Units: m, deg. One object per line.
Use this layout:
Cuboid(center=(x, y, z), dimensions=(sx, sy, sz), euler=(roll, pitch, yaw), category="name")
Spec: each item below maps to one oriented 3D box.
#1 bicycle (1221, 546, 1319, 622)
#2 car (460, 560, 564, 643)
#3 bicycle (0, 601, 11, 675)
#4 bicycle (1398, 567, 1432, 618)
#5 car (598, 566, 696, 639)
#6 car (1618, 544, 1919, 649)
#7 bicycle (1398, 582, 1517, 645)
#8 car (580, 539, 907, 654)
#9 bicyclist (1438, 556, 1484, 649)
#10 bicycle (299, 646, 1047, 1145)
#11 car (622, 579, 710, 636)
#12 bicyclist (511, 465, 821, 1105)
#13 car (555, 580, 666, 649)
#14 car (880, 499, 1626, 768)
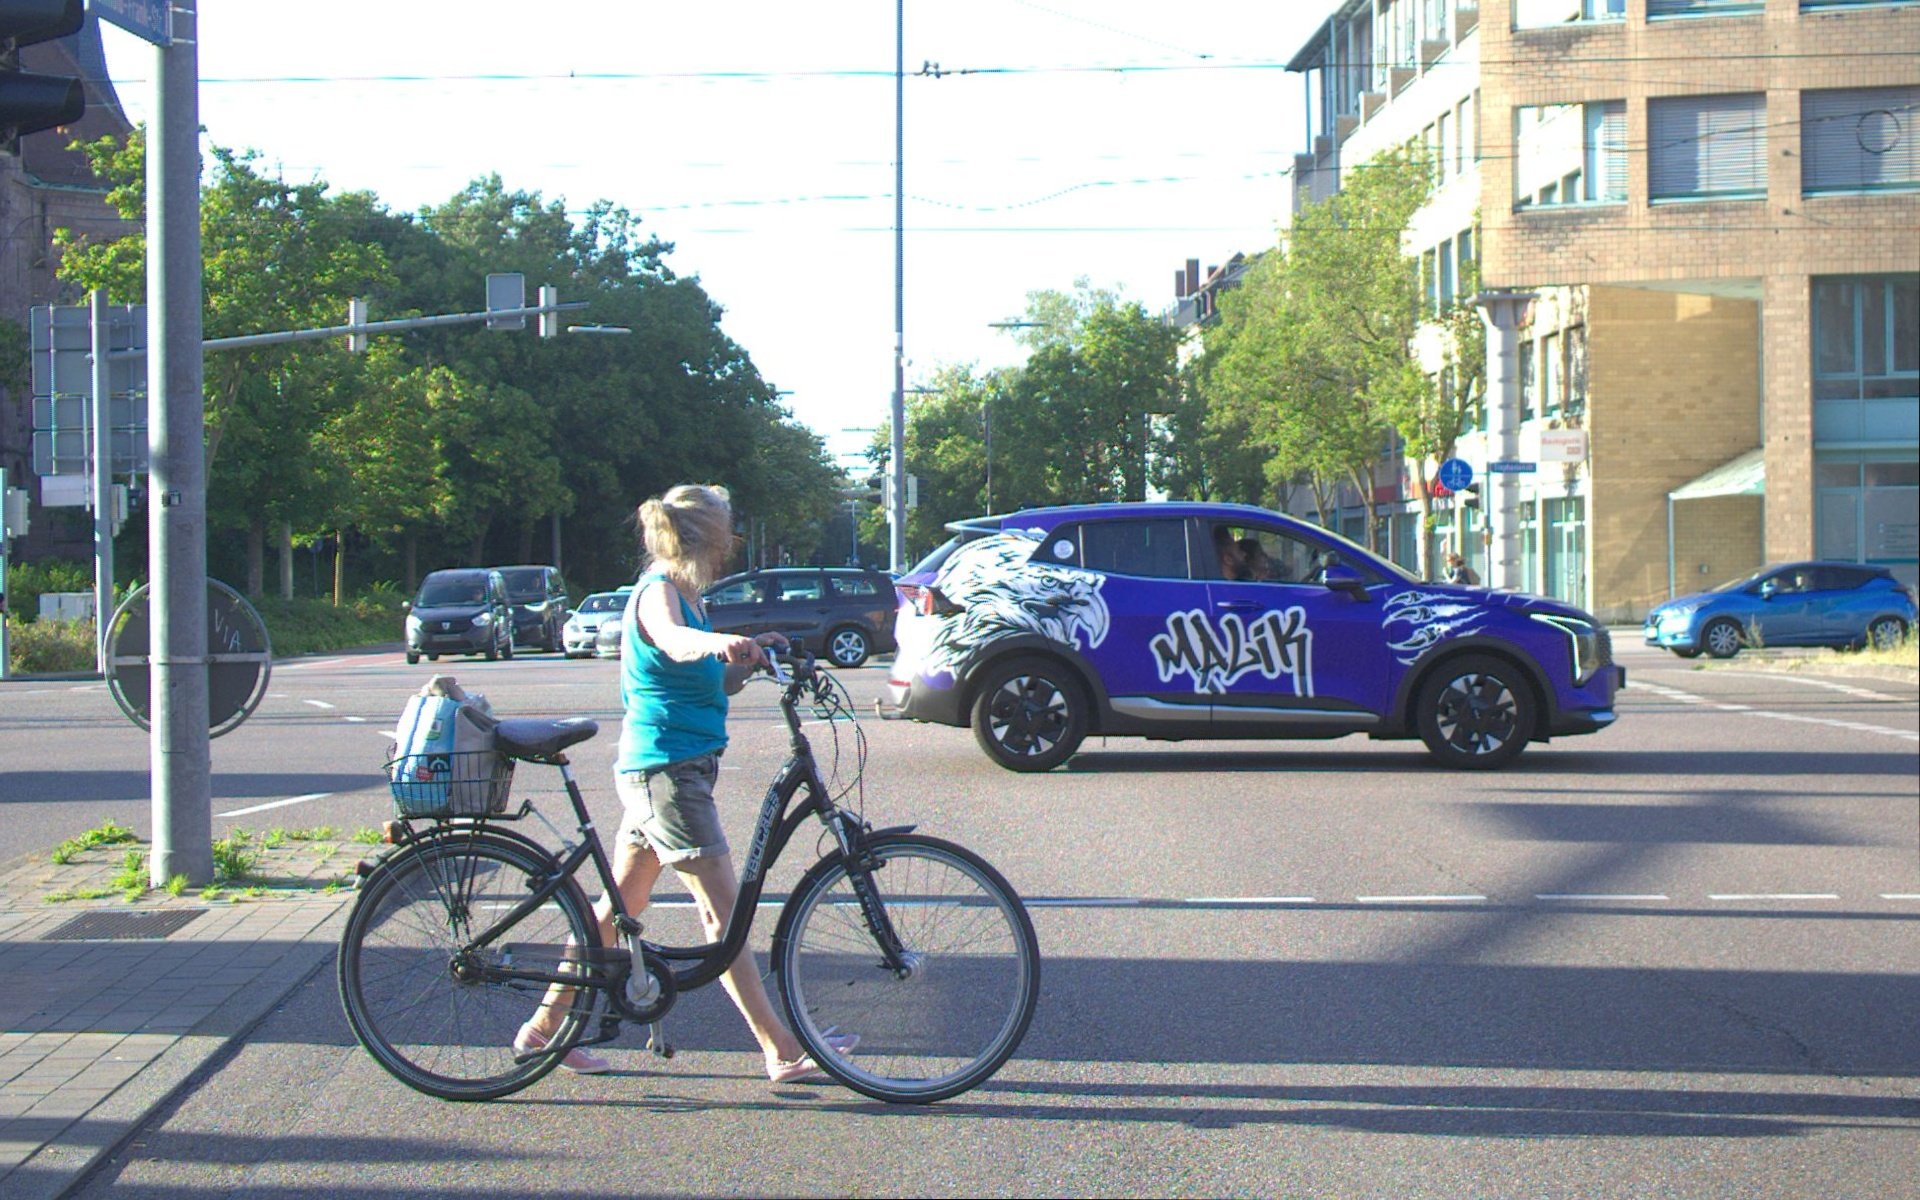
Cuboid(center=(4.853, -0.255, 53.810), dimensions=(1.520, 1.168, 0.475), euler=(-1, 1, 6), category="bicycle")
Cuboid(center=(-9.648, 0.005, 74.338), dimensions=(1.780, 1.698, 4.000), euler=(0, 1, -1), category="car")
Cuboid(center=(-15.589, 0.594, 54.165), dimensions=(0.645, 1.135, 1.679), euler=(-1, 1, -37), category="bicycle")
Cuboid(center=(11.174, -0.196, 84.411), dimensions=(0.773, 1.191, 2.464), euler=(-1, 1, 6), category="bicycle")
Cuboid(center=(-6.614, 0.036, 73.019), dimensions=(1.780, 1.459, 4.000), euler=(0, 1, -1), category="car")
Cuboid(center=(12.163, -0.069, 51.243), dimensions=(4.228, 1.497, 2.000), euler=(-1, 1, -4), category="car")
Cuboid(center=(7.883, 0.212, 54.490), dimensions=(1.821, 0.981, 0.533), euler=(0, 1, 3), category="bicycle")
Cuboid(center=(-3.147, -0.069, 50.018), dimensions=(4.646, 1.592, 2.000), euler=(-1, 1, -4), category="car")
Cuboid(center=(7.938, 0.040, 54.482), dimensions=(0.666, 1.464, 0.533), euler=(0, 1, 3), category="bicyclist")
Cuboid(center=(-0.718, 0.732, 8.842), dimensions=(1.827, 1.184, 0.734), euler=(-1, 1, -2), category="bicycle")
Cuboid(center=(-6.844, 0.154, 80.282), dimensions=(1.780, 1.232, 4.000), euler=(0, 1, -1), category="car")
Cuboid(center=(-0.791, 0.473, 9.404), dimensions=(0.782, 1.654, 0.901), euler=(-1, 1, -3), category="bicyclist")
Cuboid(center=(-6.725, 0.255, 66.444), dimensions=(1.780, 1.232, 4.000), euler=(0, 1, -1), category="car")
Cuboid(center=(1.812, 0.191, 21.316), dimensions=(4.404, 1.568, 1.835), euler=(0, 1, 6), category="car")
